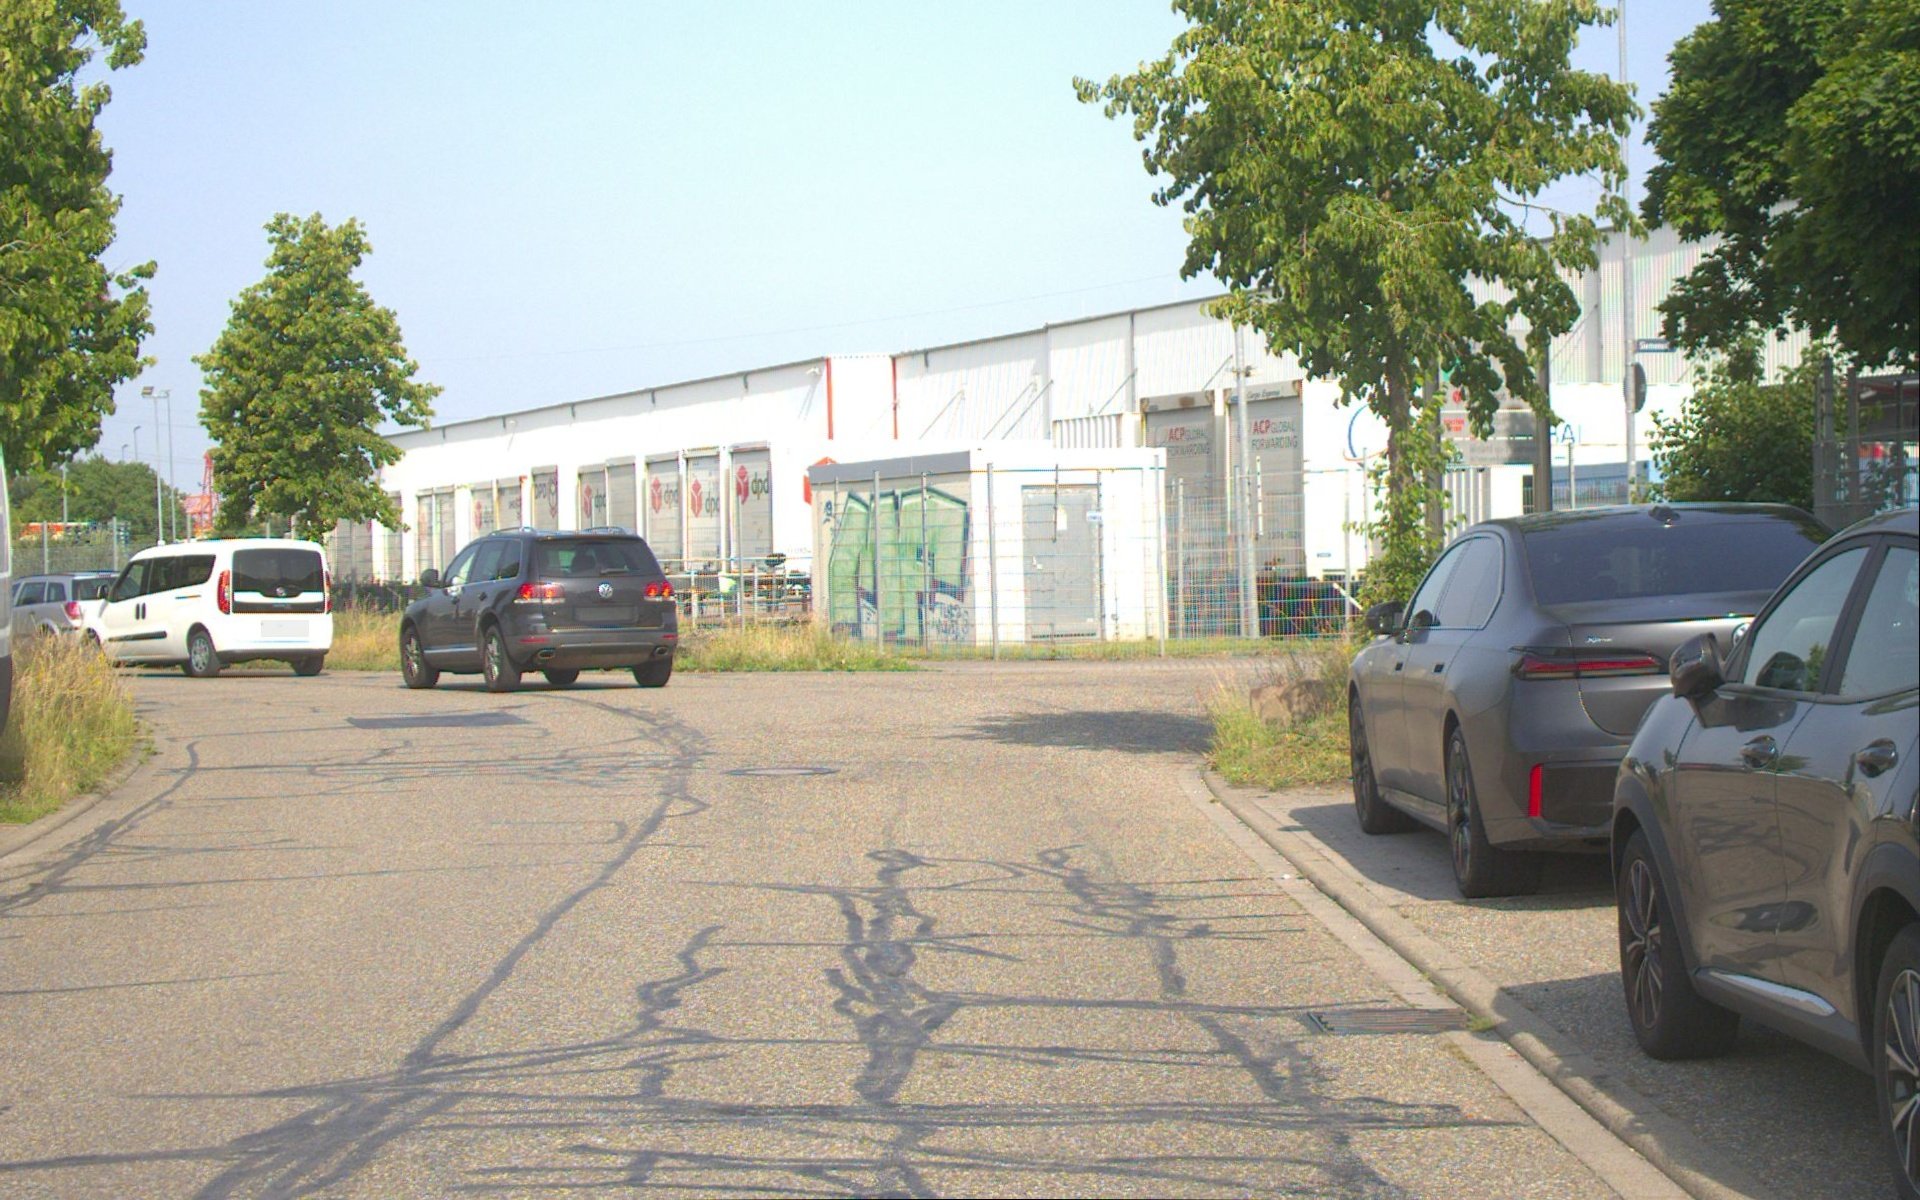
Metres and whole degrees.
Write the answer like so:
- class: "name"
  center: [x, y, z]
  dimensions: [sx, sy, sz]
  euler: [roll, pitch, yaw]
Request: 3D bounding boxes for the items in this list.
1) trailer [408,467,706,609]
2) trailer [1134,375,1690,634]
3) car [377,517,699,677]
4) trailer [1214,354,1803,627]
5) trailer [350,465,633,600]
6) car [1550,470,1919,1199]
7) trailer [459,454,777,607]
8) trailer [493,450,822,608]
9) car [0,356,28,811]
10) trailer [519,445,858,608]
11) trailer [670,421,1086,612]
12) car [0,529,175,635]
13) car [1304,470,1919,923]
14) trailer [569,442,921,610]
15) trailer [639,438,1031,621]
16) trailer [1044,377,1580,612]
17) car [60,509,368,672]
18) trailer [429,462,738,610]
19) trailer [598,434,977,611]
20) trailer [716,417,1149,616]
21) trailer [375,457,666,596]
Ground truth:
- class: "trailer"
  center: [-11.538, -1.746, 98.530]
  dimensions: [7.960, 3.880, 2.776]
  euler: [1, 1, -24]
- class: "trailer"
  center: [7.305, -1.581, 55.355]
  dimensions: [8.534, 3.880, 2.776]
  euler: [-2, 1, -23]
- class: "car"
  center: [-4.561, -0.041, 36.657]
  dimensions: [1.881, 1.581, 4.113]
  euler: [-2, 1, -31]
- class: "trailer"
  center: [8.379, -1.648, 52.403]
  dimensions: [8.534, 3.881, 2.776]
  euler: [-1, -1, -22]
- class: "trailer"
  center: [-14.166, -2.021, 103.991]
  dimensions: [7.960, 3.880, 2.776]
  euler: [1, 1, -24]
- class: "car"
  center: [2.754, 0.481, 8.183]
  dimensions: [1.880, 1.568, 4.113]
  euler: [-2, 1, -1]
- class: "trailer"
  center: [-9.155, -1.841, 92.193]
  dimensions: [7.960, 3.880, 2.776]
  euler: [1, 1, -24]
- class: "trailer"
  center: [-7.835, -1.813, 89.266]
  dimensions: [7.960, 3.880, 2.776]
  euler: [1, 1, -24]
- class: "car"
  center: [-6.319, -0.027, 16.811]
  dimensions: [2.102, 2.586, 6.505]
  euler: [1, 2, -4]
- class: "trailer"
  center: [-6.806, -1.813, 86.417]
  dimensions: [7.960, 3.880, 2.776]
  euler: [1, 1, -24]
- class: "trailer"
  center: [-1.746, -1.753, 74.446]
  dimensions: [8.534, 3.880, 2.776]
  euler: [1, 1, -24]
- class: "car"
  center: [-15.037, -0.304, 57.159]
  dimensions: [1.800, 1.620, 4.446]
  euler: [-4, 3, -43]
- class: "car"
  center: [2.760, 0.320, 15.076]
  dimensions: [1.880, 1.568, 5.119]
  euler: [-3, 1, 0]
- class: "trailer"
  center: [-5.228, -1.760, 83.854]
  dimensions: [8.031, 3.880, 2.776]
  euler: [1, 1, -24]
- class: "trailer"
  center: [-2.780, -1.538, 77.259]
  dimensions: [8.305, 3.880, 2.776]
  euler: [1, 1, -24]
- class: "trailer"
  center: [5.973, -1.731, 58.004]
  dimensions: [8.730, 3.748, 2.791]
  euler: [-1, 0, -24]
- class: "car"
  center: [-10.287, -0.130, 47.181]
  dimensions: [2.122, 2.103, 4.622]
  euler: [-2, 1, -41]
- class: "trailer"
  center: [-10.372, -1.732, 94.899]
  dimensions: [7.960, 3.880, 2.776]
  euler: [1, 1, -24]
- class: "trailer"
  center: [-4.003, -1.771, 80.065]
  dimensions: [8.305, 3.880, 2.776]
  euler: [1, 1, -24]
- class: "trailer"
  center: [-0.542, -1.675, 71.468]
  dimensions: [8.534, 3.880, 2.776]
  euler: [1, 1, -24]
- class: "trailer"
  center: [-12.918, -2.122, 101.137]
  dimensions: [7.960, 3.880, 2.776]
  euler: [1, 1, -24]
